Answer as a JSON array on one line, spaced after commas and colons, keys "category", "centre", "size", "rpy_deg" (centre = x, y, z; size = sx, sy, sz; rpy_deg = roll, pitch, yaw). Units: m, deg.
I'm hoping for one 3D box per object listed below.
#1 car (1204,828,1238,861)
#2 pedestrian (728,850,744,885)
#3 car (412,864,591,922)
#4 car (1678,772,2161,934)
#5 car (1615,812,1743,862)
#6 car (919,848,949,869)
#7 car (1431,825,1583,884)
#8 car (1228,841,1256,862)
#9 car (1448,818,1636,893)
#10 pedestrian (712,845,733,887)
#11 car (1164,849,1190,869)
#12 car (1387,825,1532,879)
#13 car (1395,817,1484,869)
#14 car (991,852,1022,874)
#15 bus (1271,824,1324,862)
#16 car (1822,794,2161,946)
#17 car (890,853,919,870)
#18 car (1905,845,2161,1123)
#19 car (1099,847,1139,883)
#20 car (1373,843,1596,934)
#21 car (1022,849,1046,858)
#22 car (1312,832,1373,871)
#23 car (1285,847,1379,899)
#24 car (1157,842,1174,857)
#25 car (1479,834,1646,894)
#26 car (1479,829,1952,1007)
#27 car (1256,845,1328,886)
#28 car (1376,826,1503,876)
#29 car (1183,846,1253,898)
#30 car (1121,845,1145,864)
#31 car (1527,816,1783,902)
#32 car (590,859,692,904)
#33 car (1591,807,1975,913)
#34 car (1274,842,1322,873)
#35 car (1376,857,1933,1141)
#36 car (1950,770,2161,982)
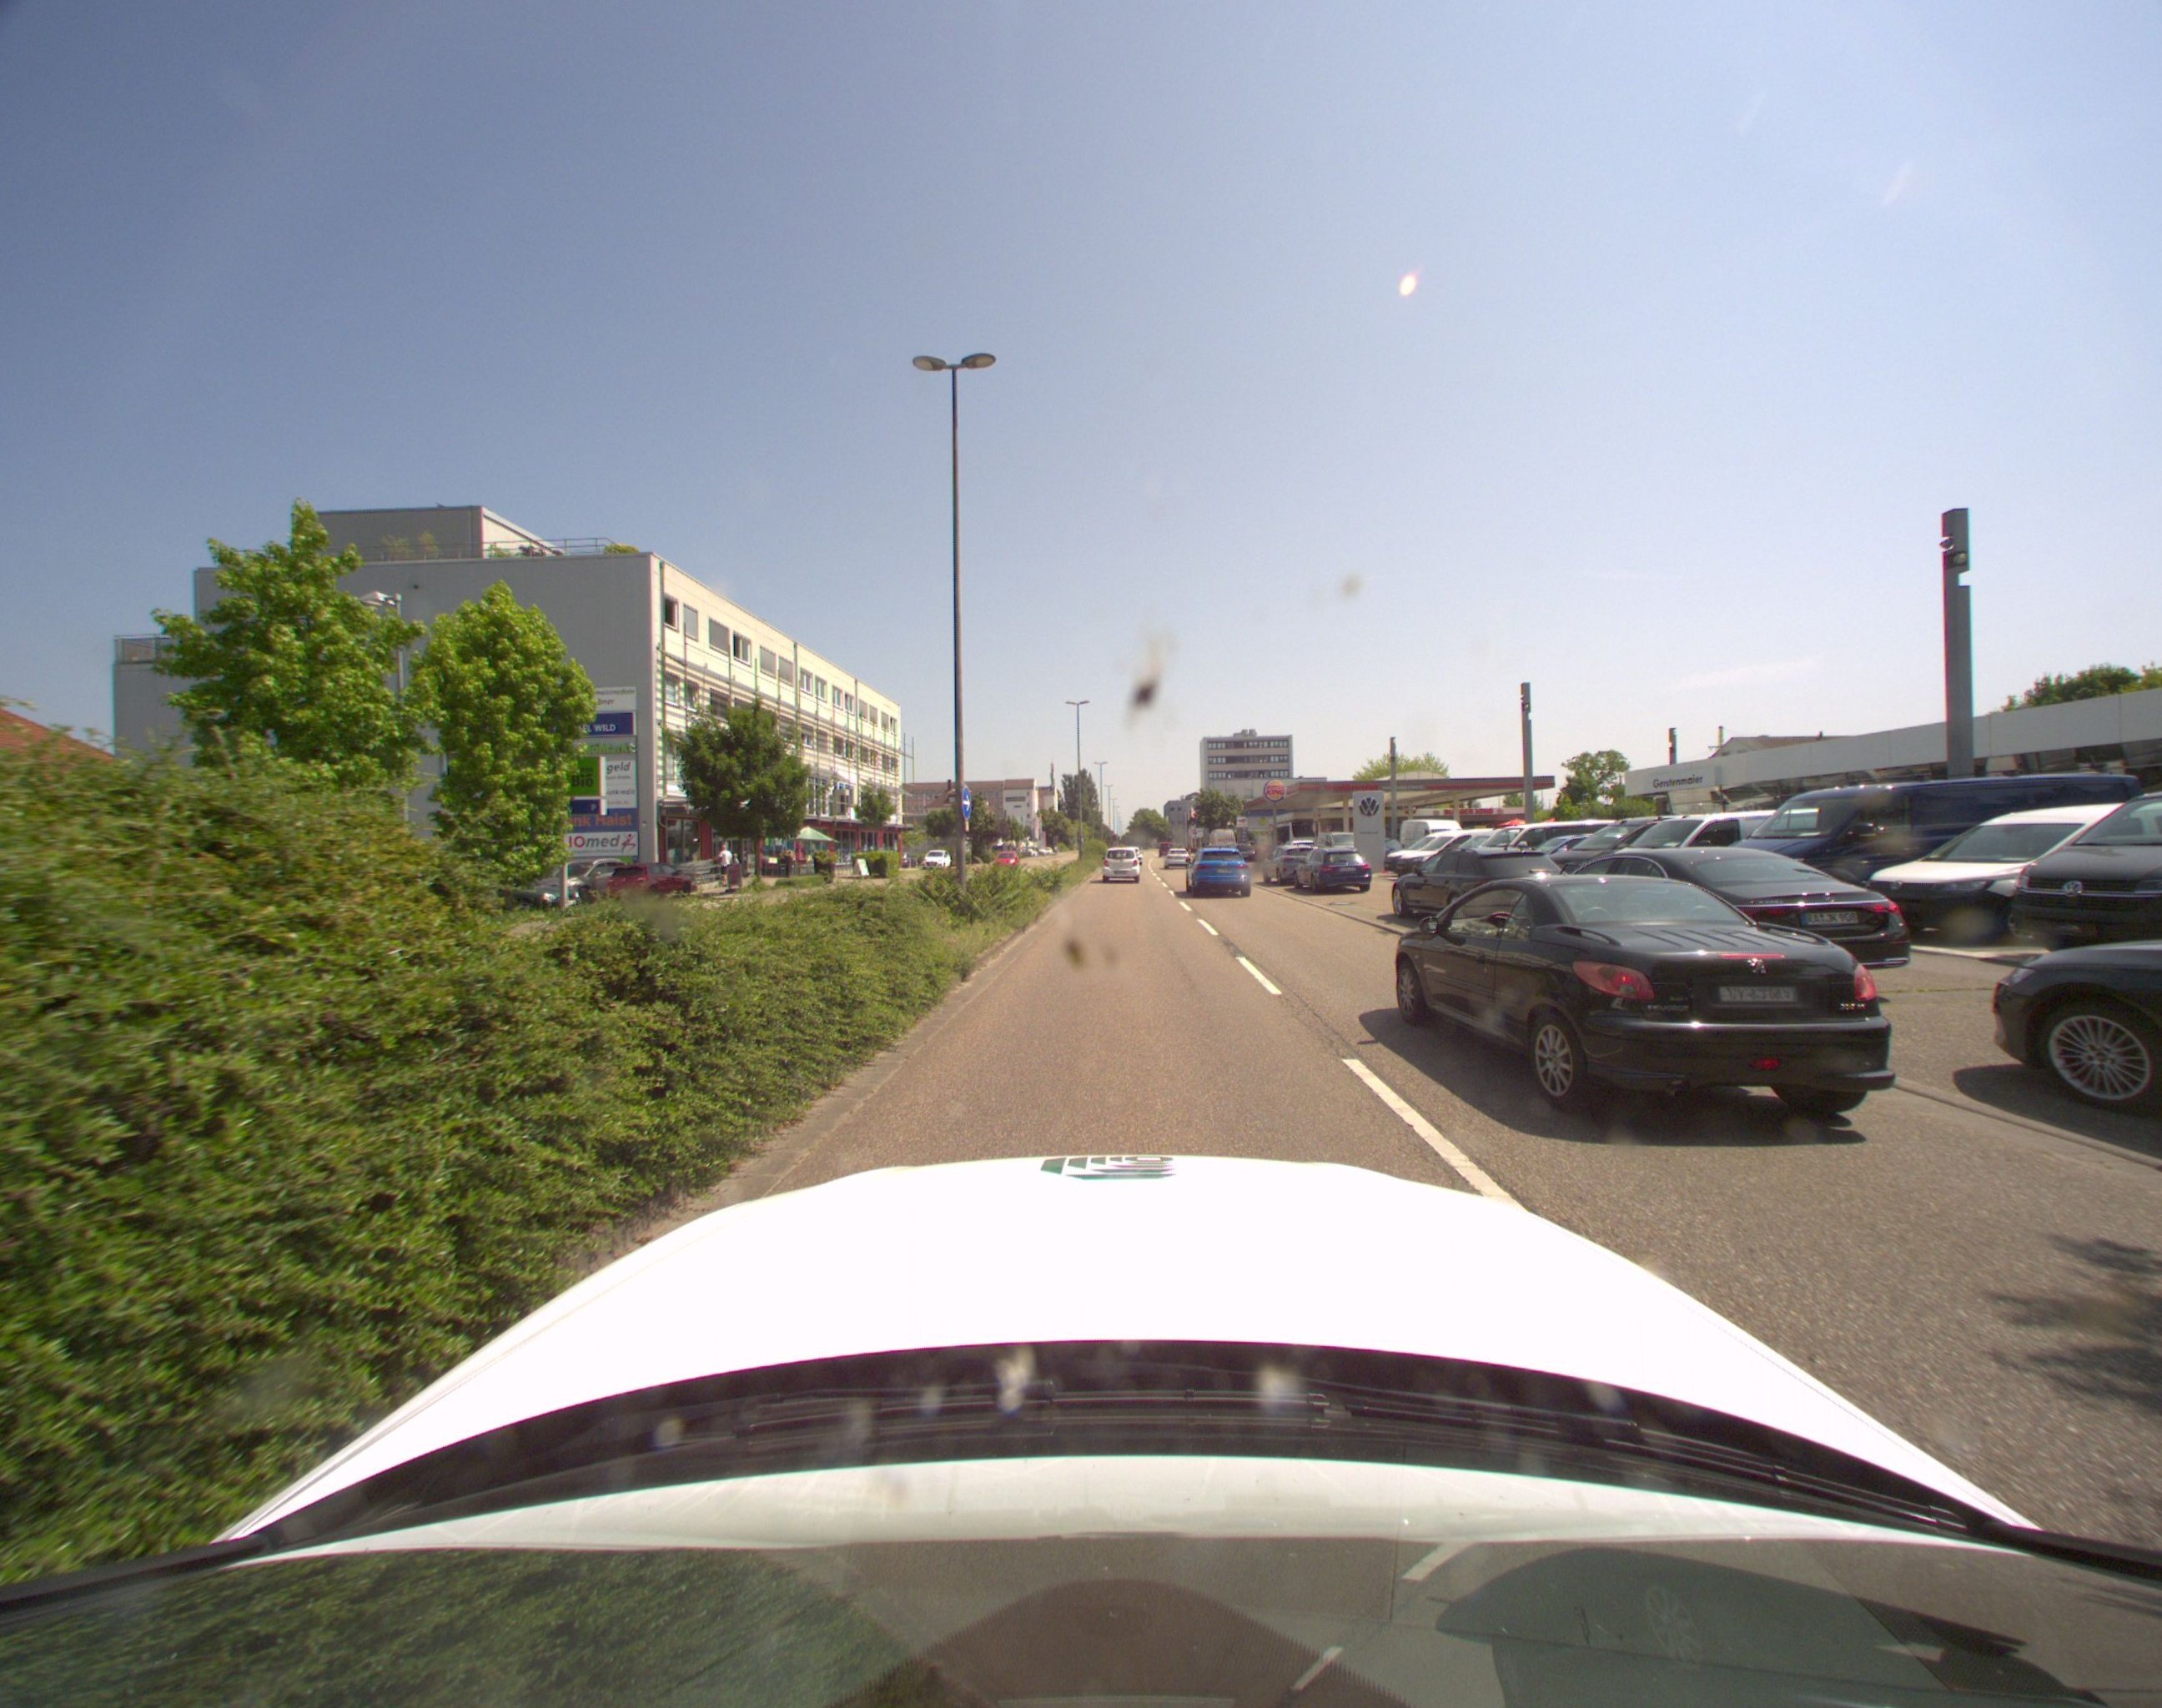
[{"category": "car", "centre": [13.330, -0.894, 77.992], "size": [2.124, 2.839, 7.315], "rpy_deg": [-5, 0, 3]}, {"category": "pedestrian", "centre": [-16.259, 0.624, 38.348], "size": [0.527, 1.620, 0.392], "rpy_deg": [-2, 0, 3]}, {"category": "car", "centre": [-15.849, 1.042, 22.402], "size": [3.642, 1.364, 1.782], "rpy_deg": [-2, 0, 3]}, {"category": "car", "centre": [14.105, 0.002, 14.077], "size": [5.815, 2.524, 2.207], "rpy_deg": [0, -2, 5]}, {"category": "car", "centre": [33.213, -0.899, 45.615], "size": [2.246, 2.556, 7.079], "rpy_deg": [-2, 0, 3]}, {"category": "car", "centre": [-11.722, 0.399, 64.640], "size": [1.684, 1.495, 4.015], "rpy_deg": [1, -2, -20]}, {"category": "car", "centre": [14.498, 0.036, 27.894], "size": [4.134, 1.781, 1.882], "rpy_deg": [-2, -2, 2]}, {"category": "car", "centre": [12.711, -0.206, 64.475], "size": [1.650, 1.519, 3.823], "rpy_deg": [-2, 0, 3]}, {"category": "car", "centre": [14.091, 0.034, 25.101], "size": [4.624, 2.013, 1.960], "rpy_deg": [-3, 0, 1]}, {"category": "pedestrian", "centre": [-16.094, 0.537, 36.556], "size": [0.672, 1.866, 0.499], "rpy_deg": [-2, 0, 3]}, {"category": "car", "centre": [6.676, 0.335, 57.015], "size": [1.660, 1.399, 3.797], "rpy_deg": [0, 0, 4]}, {"category": "car", "centre": [14.156, -0.034, 30.656], "size": [4.538, 1.888, 1.858], "rpy_deg": [-1, -2, 1]}, {"category": "car", "centre": [20.080, -0.614, 46.074], "size": [2.246, 2.675, 7.024], "rpy_deg": [-2, 0, 3]}, {"category": "car", "centre": [-5.309, 0.620, 58.363], "size": [1.623, 1.424, 3.454], "rpy_deg": [-3, -1, 4]}, {"category": "bus", "centre": [19.059, -1.057, 72.479], "size": [2.790, 3.078, 12.309], "rpy_deg": [0, 1, 7]}, {"category": "car", "centre": [13.578, 0.156, 11.401], "size": [4.550, 1.851, 1.953], "rpy_deg": [-2, 0, 2]}, {"category": "car", "centre": [-17.539, 0.782, 81.109], "size": [1.761, 1.547, 4.004], "rpy_deg": [-1, -2, 4]}, {"category": "car", "centre": [6.471, 0.676, 3.439], "size": [1.674, 1.435, 4.444], "rpy_deg": [-2, 0, 4]}, {"category": "car", "centre": [1.662, 0.466, 36.494], "size": [1.706, 1.510, 3.247], "rpy_deg": [0, 1, 0]}, {"category": "car", "centre": [7.630, 0.571, 16.108], "size": [1.849, 1.481, 5.155], "rpy_deg": [-1, 0, 0]}, {"category": "car", "centre": [-8.215, -0.147, 144.044], "size": [3.967, 1.552, 1.868], "rpy_deg": [0, -2, 5]}, {"category": "car", "centre": [14.661, -0.140, 46.029], "size": [1.986, 2.023, 5.164], "rpy_deg": [1, 0, 2]}, {"category": "car", "centre": [8.324, 0.591, 27.446], "size": [1.707, 1.548, 4.791], "rpy_deg": [-2, 0, 1]}, {"category": "car", "centre": [10.271, -0.481, 99.349], "size": [1.788, 1.729, 3.973], "rpy_deg": [0, -1, 1]}, {"category": "car", "centre": [13.157, 0.254, 22.453], "size": [3.609, 1.570, 1.720], "rpy_deg": [0, 0, 8]}, {"category": "car", "centre": [7.096, 0.588, 10.081], "size": [1.953, 1.530, 5.165], "rpy_deg": [-3, 0, 3]}, {"category": "car", "centre": [8.417, 0.410, 32.827], "size": [1.728, 1.552, 4.177], "rpy_deg": [0, 0, -2]}, {"category": "car", "centre": [14.710, -0.124, 33.605], "size": [4.396, 1.882, 1.910], "rpy_deg": [-2, 0, 2]}, {"category": "car", "centre": [4.476, 0.532, 27.192], "size": [1.904, 1.597, 4.401], "rpy_deg": [0, 1, 4]}, {"category": "car", "centre": [4.293, 0.067, 67.286], "size": [1.823, 1.450, 4.000], "rpy_deg": [0, -1, 1]}, {"category": "car", "centre": [13.777, 0.075, 19.811], "size": [4.766, 1.984, 2.006], "rpy_deg": [0, 2, 3]}, {"category": "car", "centre": [-16.773, 1.004, 31.260], "size": [1.653, 1.467, 3.800], "rpy_deg": [-3, 0, 2]}, {"category": "car", "centre": [14.238, 0.111, 16.888], "size": [5.866, 2.014, 2.262], "rpy_deg": [0, -1, 4]}, {"category": "car", "centre": [12.237, 0.155, 46.197], "size": [1.660, 1.596, 4.616], "rpy_deg": [-2, 0, 3]}, {"category": "car", "centre": [3.584, 0.747, 5.984], "size": [1.594, 1.425, 3.663], "rpy_deg": [-1, 0, 2]}, {"category": "car", "centre": [13.216, 0.106, 8.980], "size": [4.881, 2.114, 2.130], "rpy_deg": [-2, 0, 2]}]
